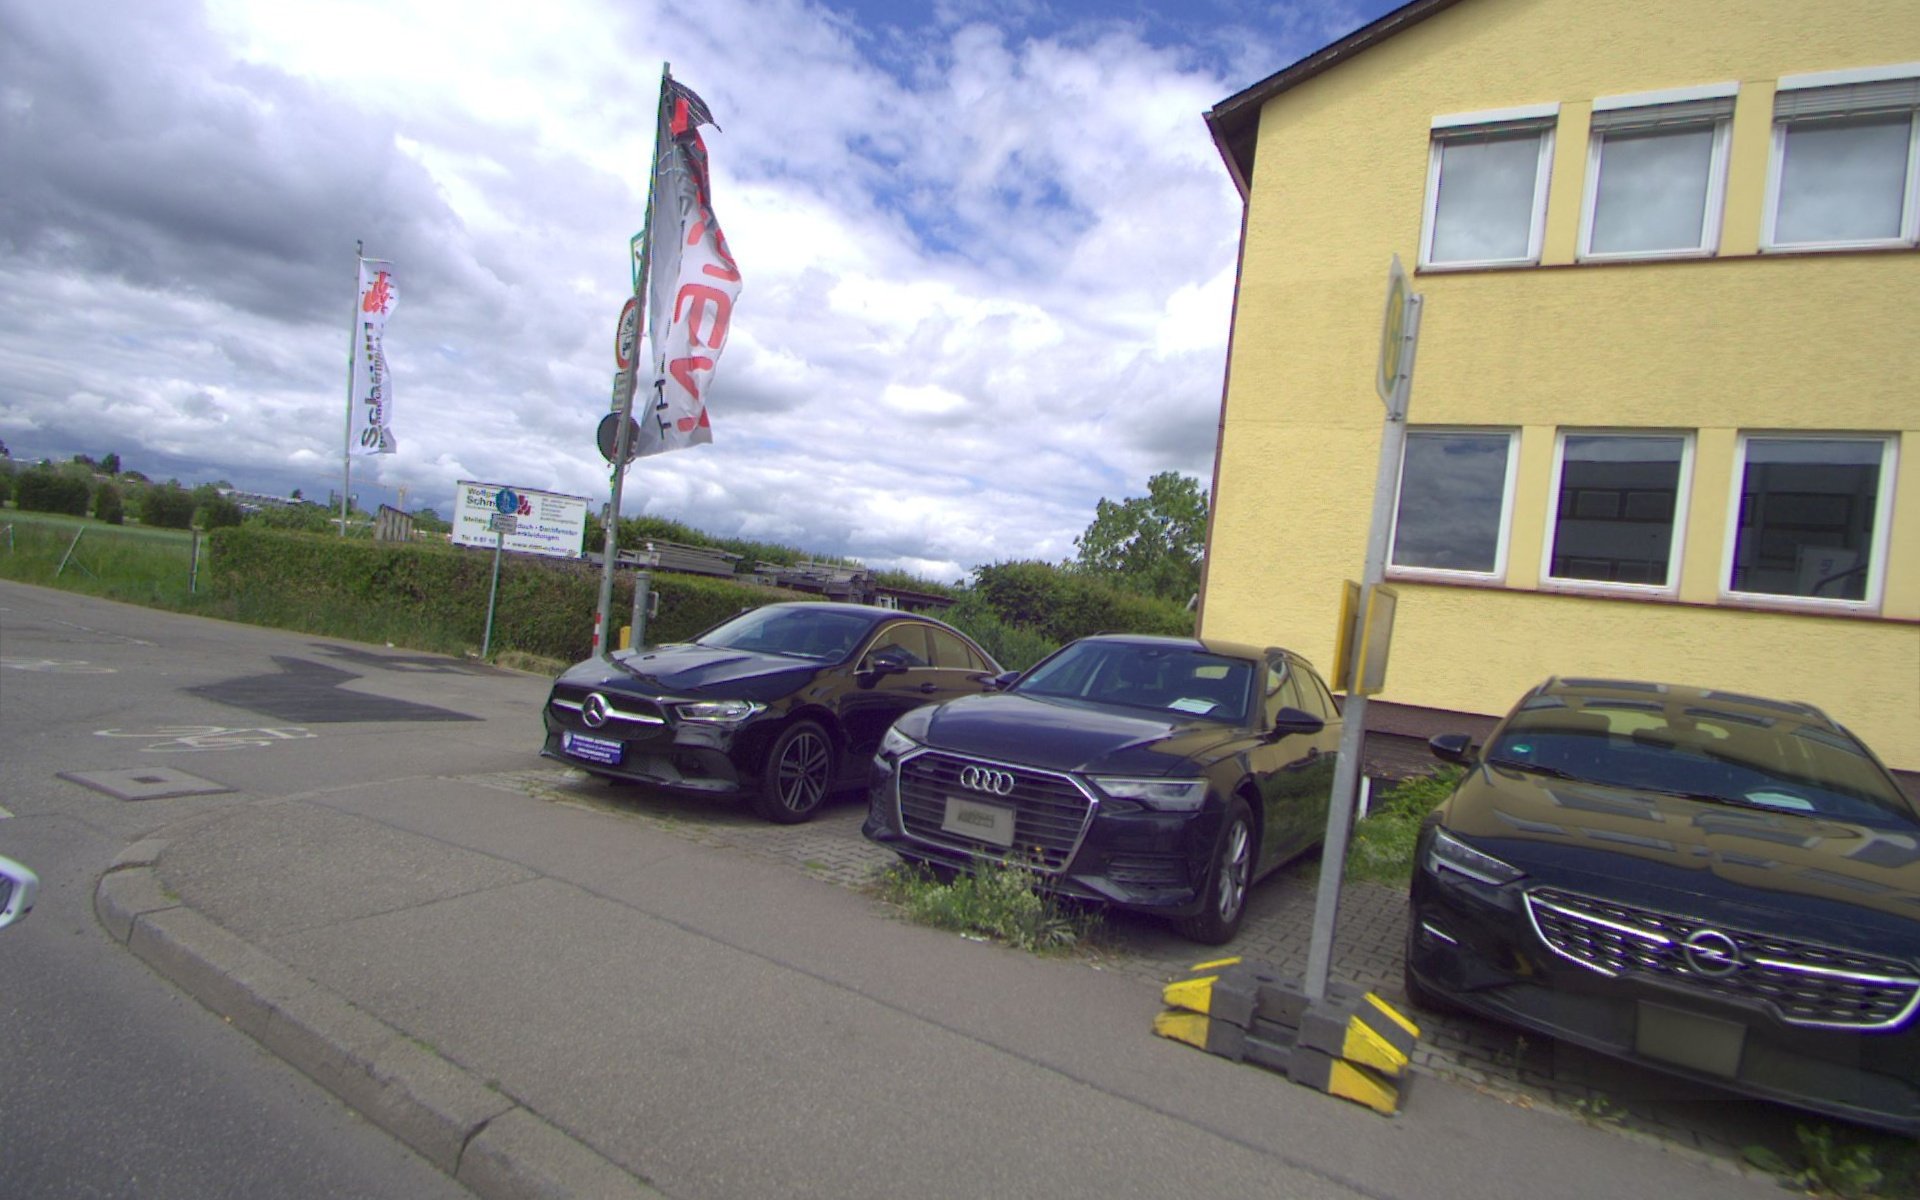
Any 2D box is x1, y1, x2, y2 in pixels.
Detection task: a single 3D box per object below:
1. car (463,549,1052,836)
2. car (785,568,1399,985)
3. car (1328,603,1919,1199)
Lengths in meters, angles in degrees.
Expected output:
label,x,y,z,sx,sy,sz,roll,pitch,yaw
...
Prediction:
label,x,y,z,sx,sy,sz,roll,pitch,yaw
car,-1.124,0.689,7.659,1.970,1.414,4.333,5,-4,29
car,1.322,0.927,6.459,2.004,1.446,4.863,7,-3,31
car,3.410,1.111,4.923,1.982,1.510,4.686,7,-2,32
